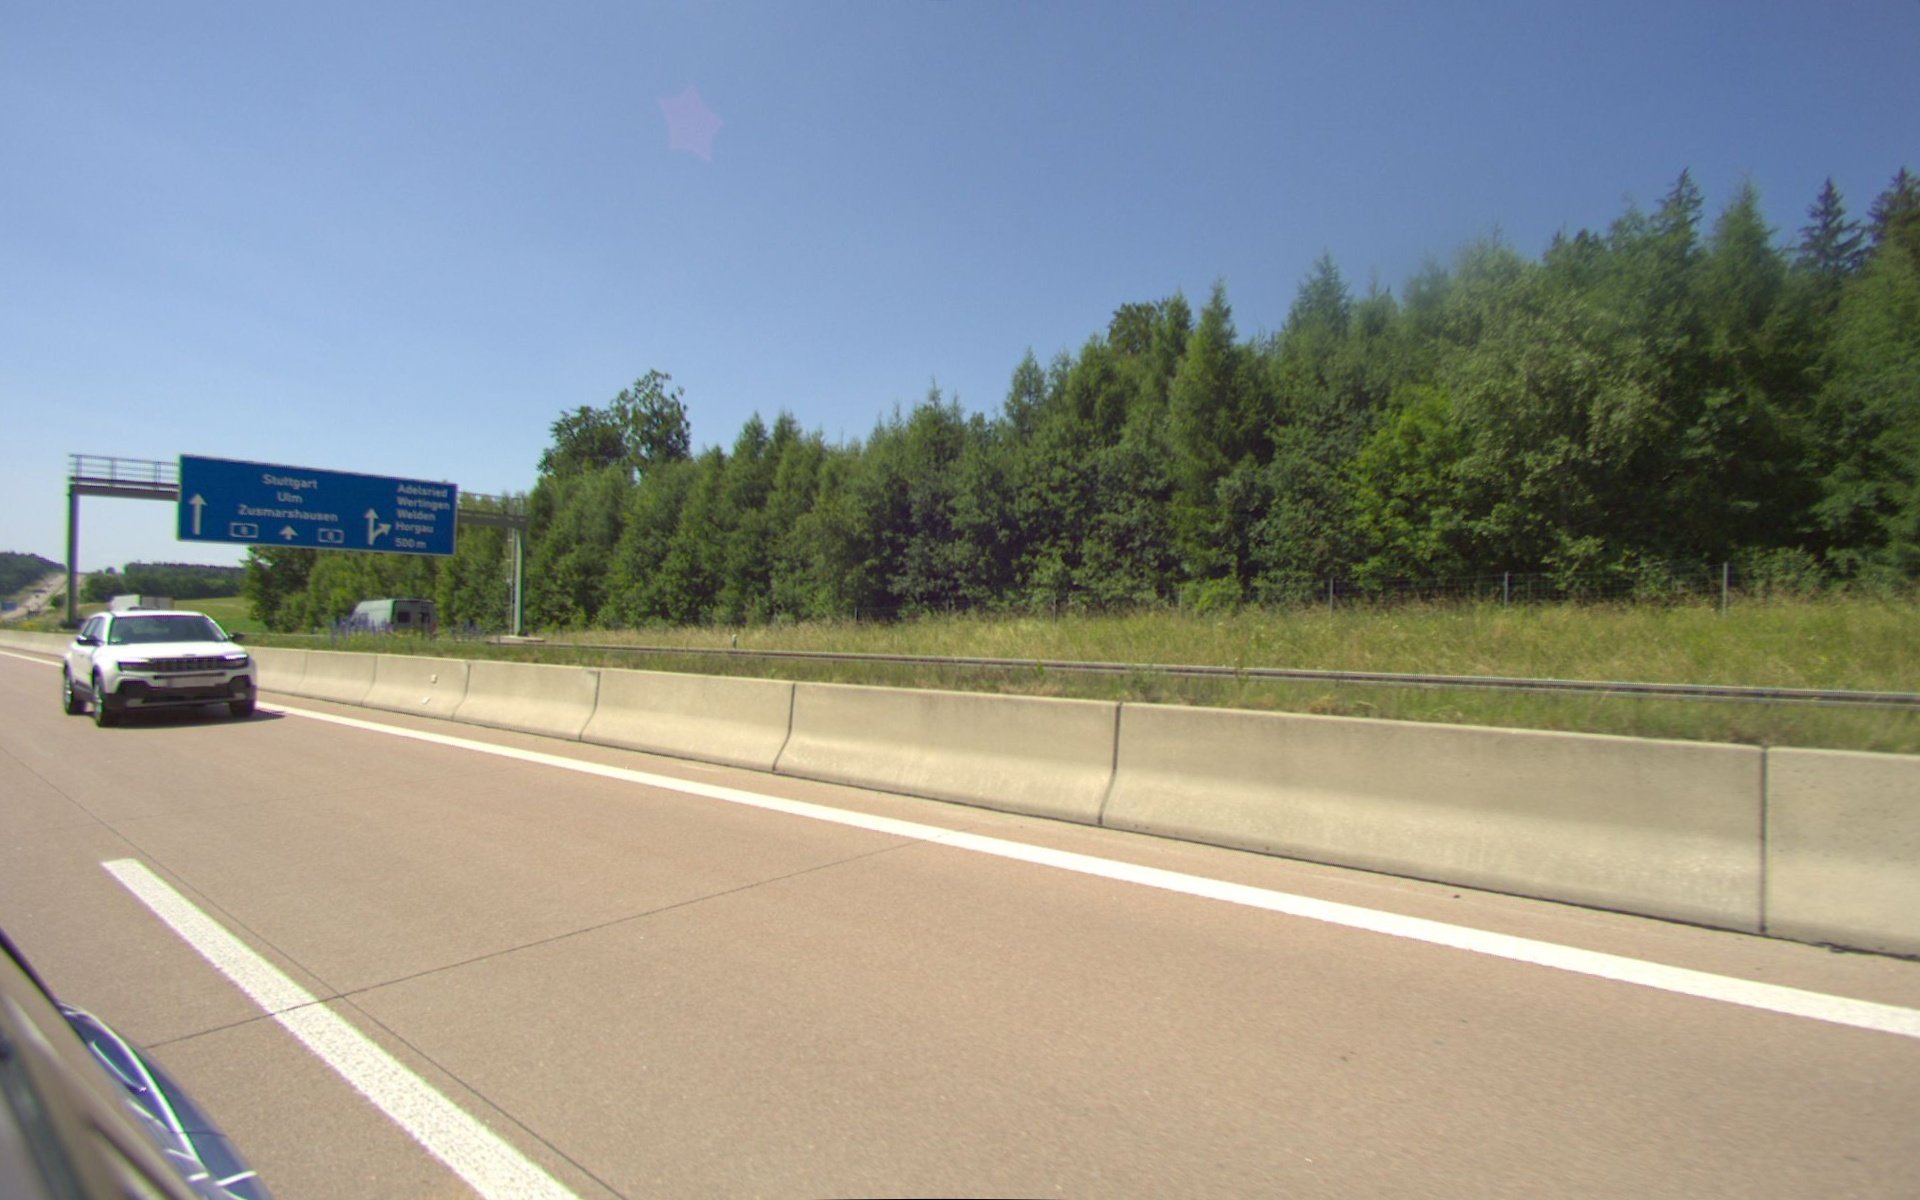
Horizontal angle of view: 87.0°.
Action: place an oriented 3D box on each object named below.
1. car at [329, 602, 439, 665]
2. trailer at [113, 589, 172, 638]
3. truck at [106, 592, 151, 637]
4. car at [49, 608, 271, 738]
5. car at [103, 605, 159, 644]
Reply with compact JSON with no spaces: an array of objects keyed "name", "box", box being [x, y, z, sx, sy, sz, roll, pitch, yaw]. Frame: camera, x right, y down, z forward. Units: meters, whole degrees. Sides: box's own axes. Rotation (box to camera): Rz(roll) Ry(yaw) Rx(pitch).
[{"name":"car","box":[-26.437,1.501,46.343,6.883,2.706,2.210,-1,-1,41]},{"name":"trailer","box":[-79.706,1.384,98.495,13.192,4.468,2.673,-2,-1,43]},{"name":"truck","box":[-85.099,1.513,103.553,6.477,4.414,2.673,-2,-2,43]},{"name":"car","box":[-11.959,0.954,14.997,4.833,1.619,1.858,-1,-1,43]},{"name":"car","box":[-60.699,1.797,74.090,6.094,2.706,2.210,-1,-1,41]}]
